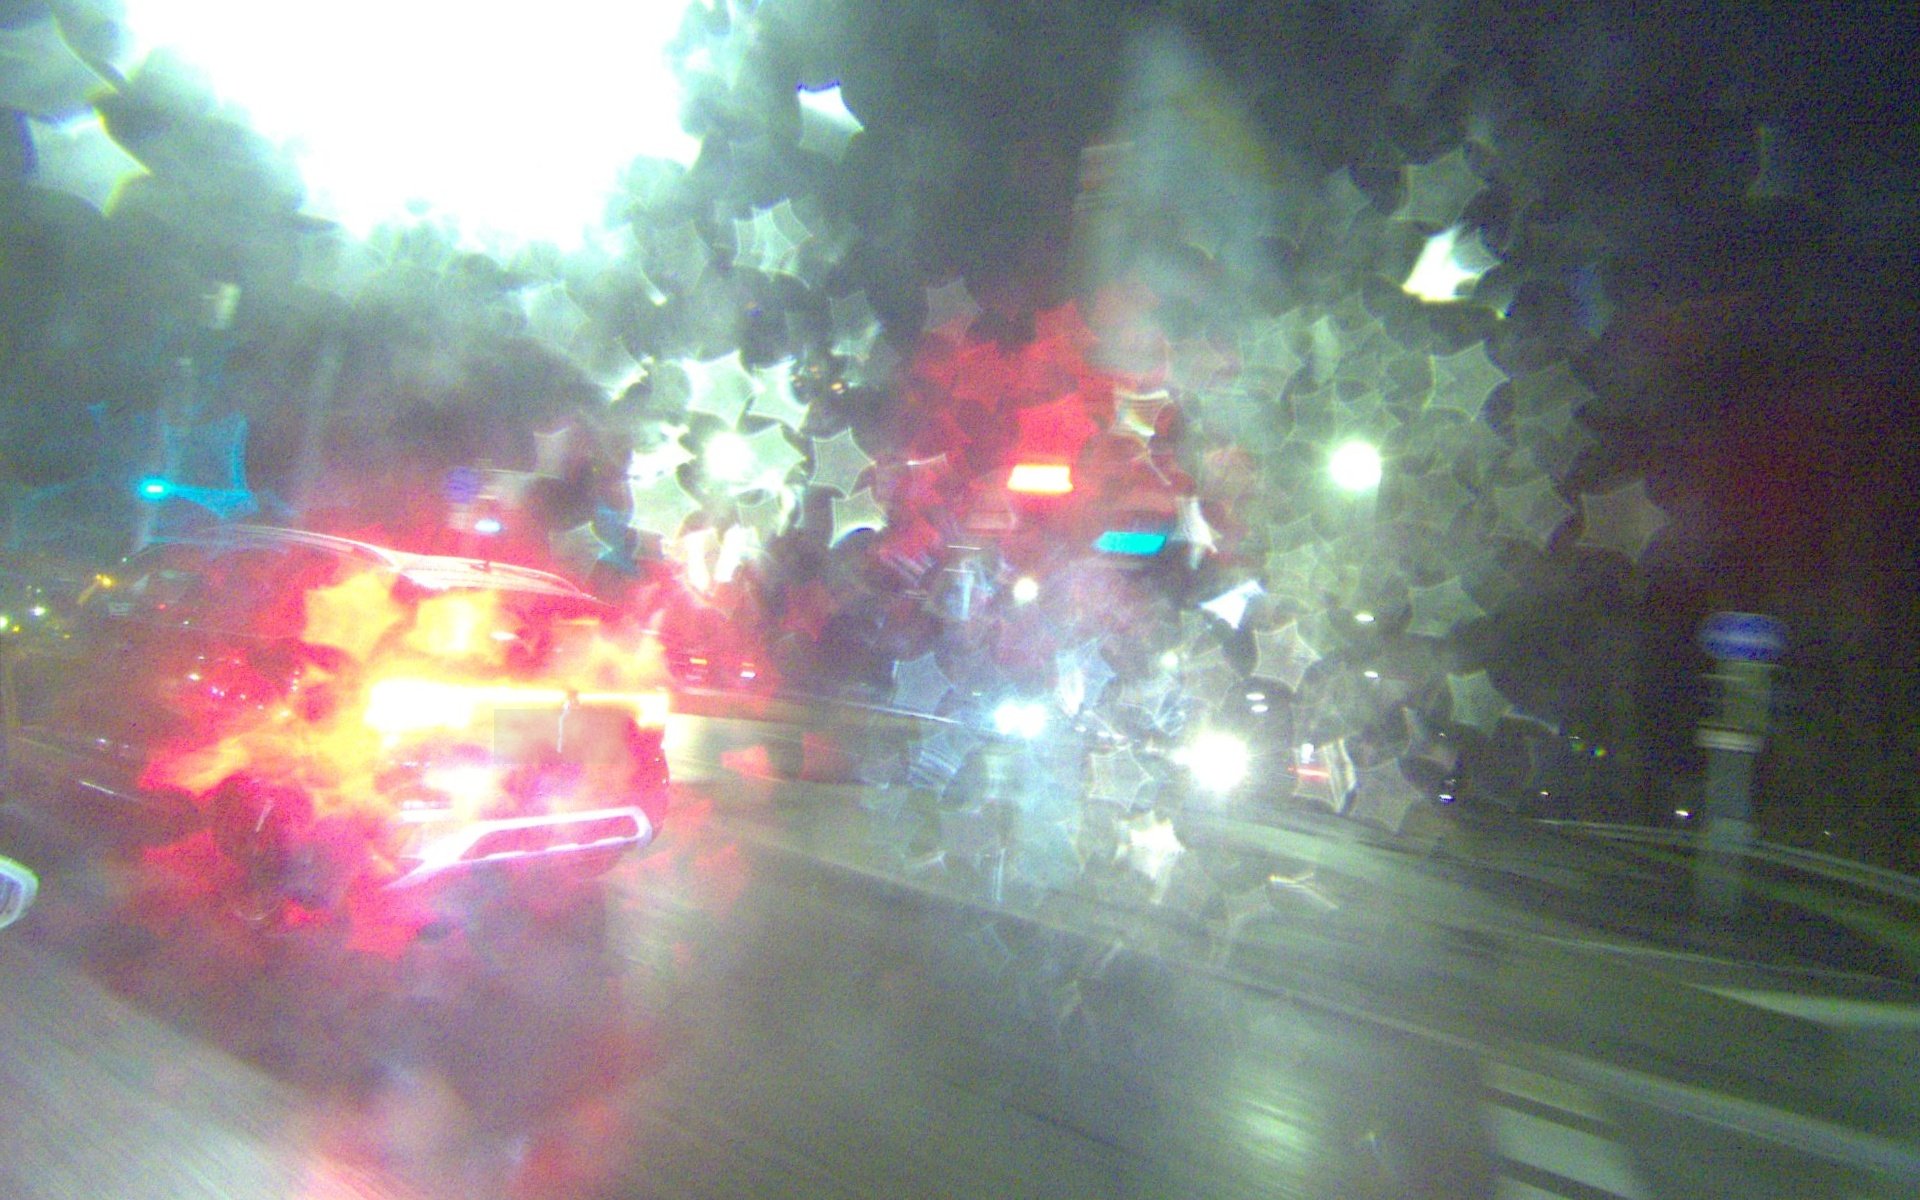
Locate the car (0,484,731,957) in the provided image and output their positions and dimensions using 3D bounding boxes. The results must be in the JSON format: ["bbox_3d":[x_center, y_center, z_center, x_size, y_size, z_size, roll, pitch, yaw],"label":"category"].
[{"bbox_3d":[-3.336,0.416,5.131,3.891,1.537,1.684,6,-5,27],"label":"car"}]

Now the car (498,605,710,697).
[{"bbox_3d":[-7.671,1.178,22.063,1.719,1.359,4.054,8,-4,33],"label":"car"}]

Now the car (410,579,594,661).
[{"bbox_3d":[-12.609,0.604,27.938,1.827,1.534,4.176,8,-4,33],"label":"car"}]

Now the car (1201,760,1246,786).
[{"bbox_3d":[17.195,11.267,65.607,1.718,1.359,3.911,8,-4,31],"label":"car"}]

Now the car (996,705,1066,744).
[{"bbox_3d":[3.848,6.673,53.858,1.797,1.657,3.996,8,-4,34],"label":"car"}]
